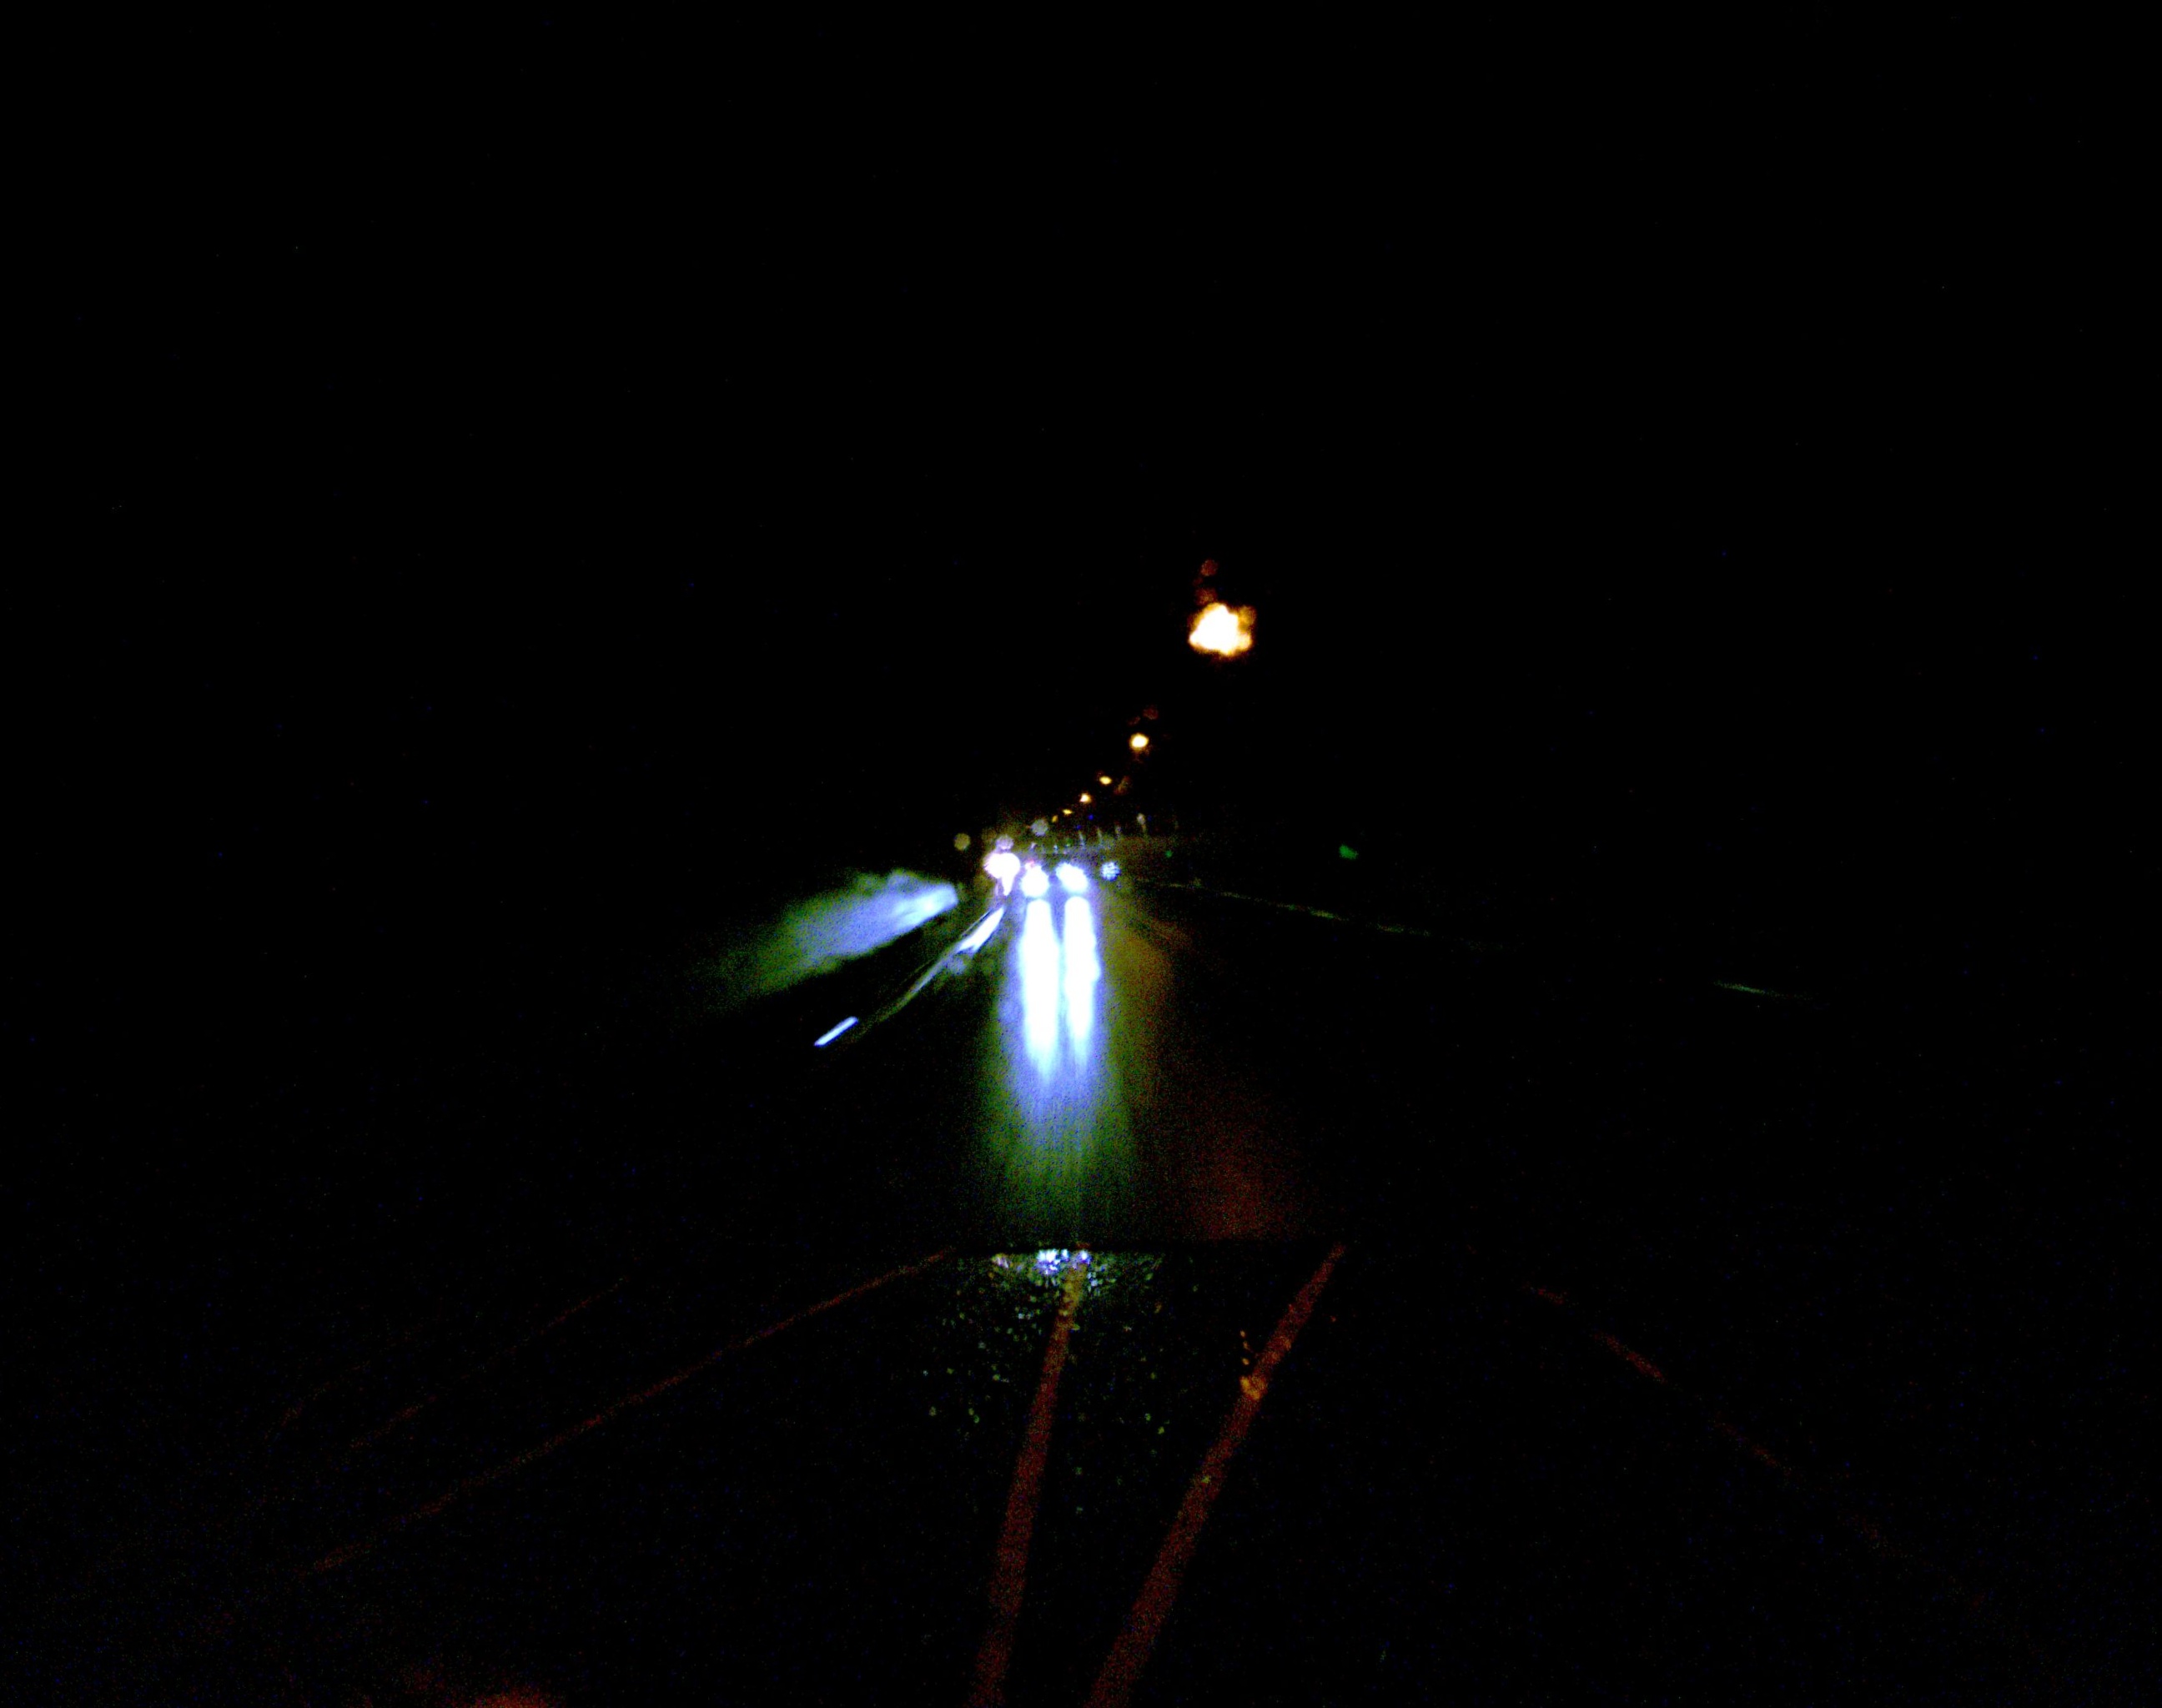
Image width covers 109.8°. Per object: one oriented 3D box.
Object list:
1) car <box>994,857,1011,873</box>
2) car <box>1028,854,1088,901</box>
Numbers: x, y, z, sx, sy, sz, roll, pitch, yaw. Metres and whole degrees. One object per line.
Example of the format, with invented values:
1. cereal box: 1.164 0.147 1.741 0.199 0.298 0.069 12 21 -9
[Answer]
1. car: -10.492 1.400 101.515 1.901 2.002 3.995 -1 0 -12
2. car: -1.008 0.868 30.395 1.999 1.585 4.606 -3 1 -6
